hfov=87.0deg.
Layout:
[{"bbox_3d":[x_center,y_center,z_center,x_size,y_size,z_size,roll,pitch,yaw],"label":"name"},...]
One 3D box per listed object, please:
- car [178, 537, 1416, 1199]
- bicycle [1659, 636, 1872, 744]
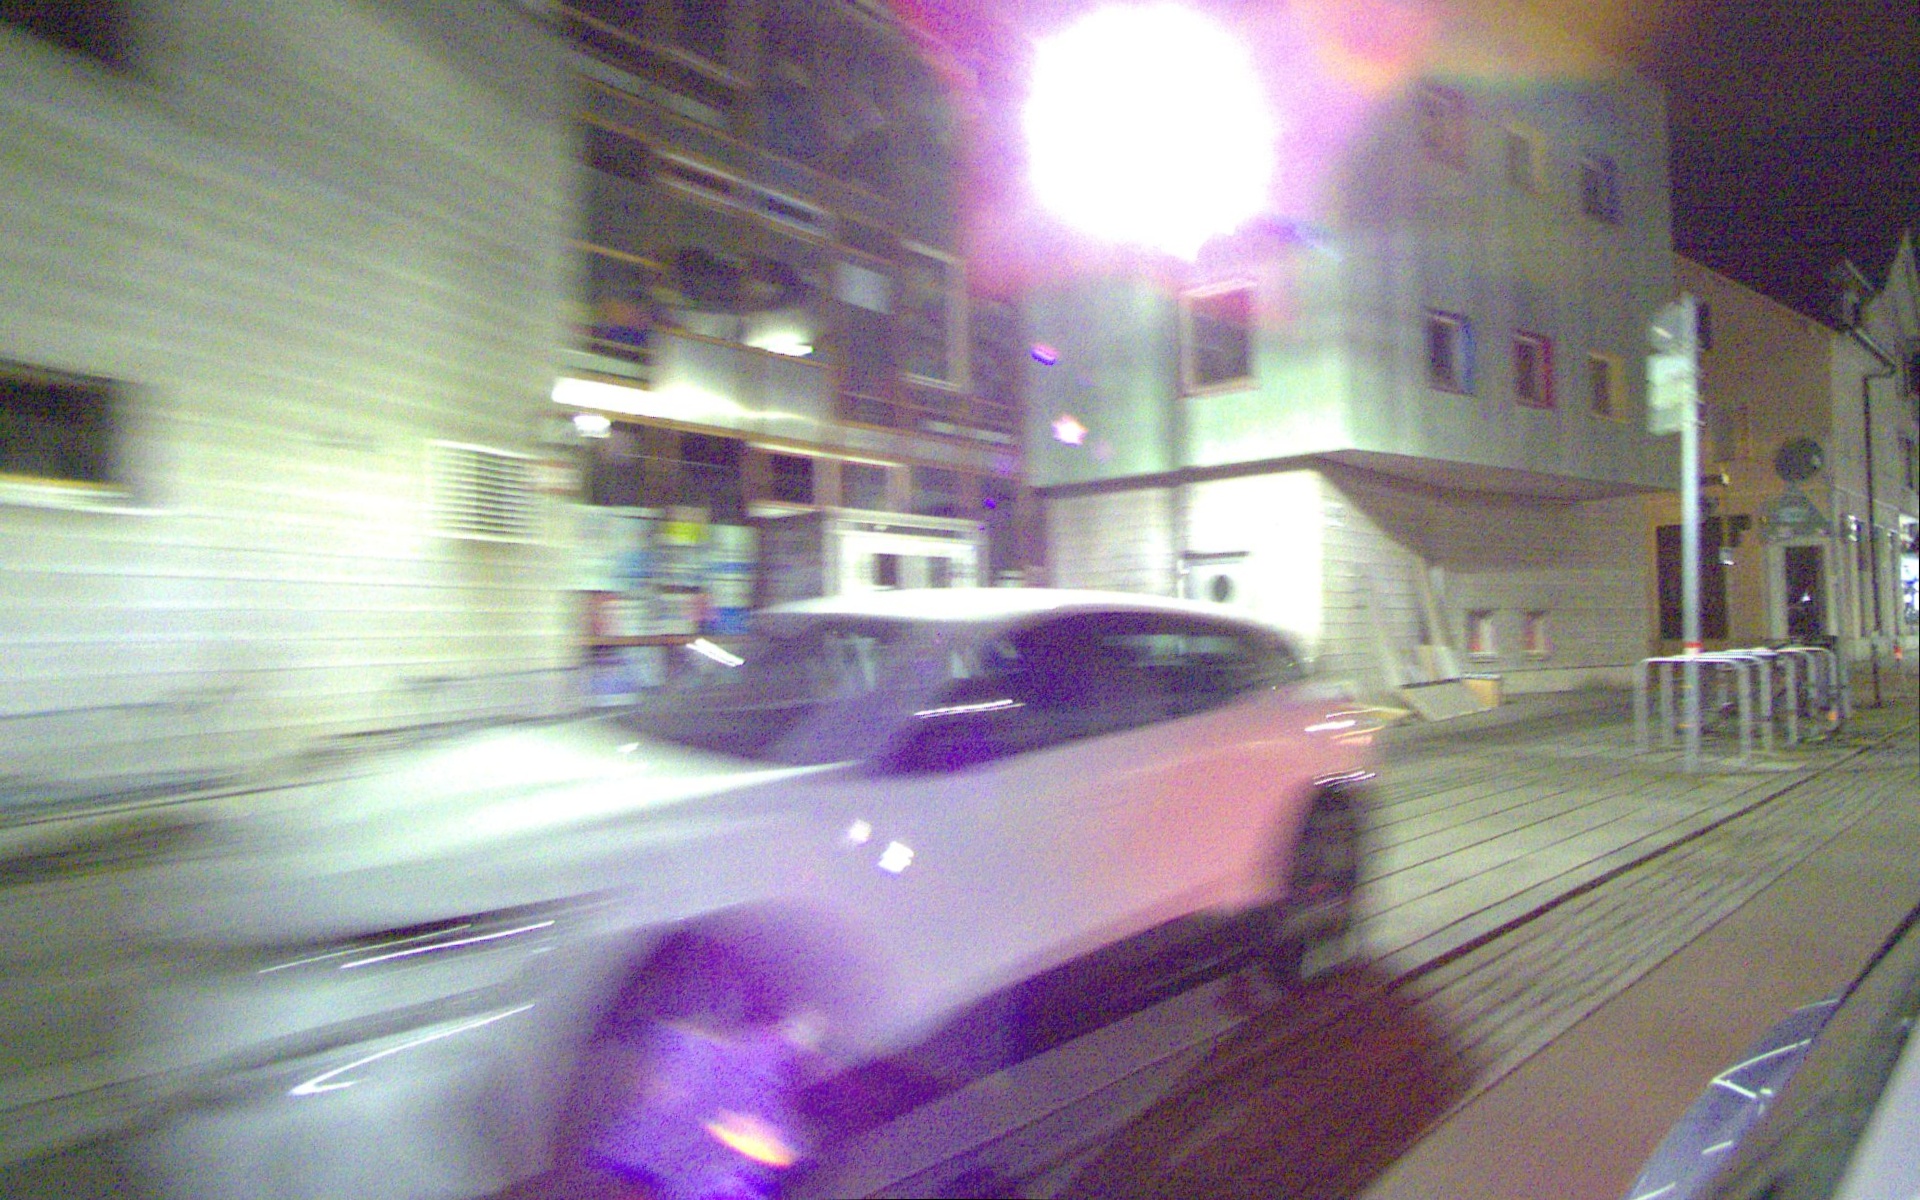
[{"bbox_3d":[-0.227,0.652,3.584,3.986,1.510,1.793,0,0,-40],"label":"car"},{"bbox_3d":[8.687,0.936,10.990,0.340,1.076,1.756,0,-2,-42],"label":"bicycle"}]
